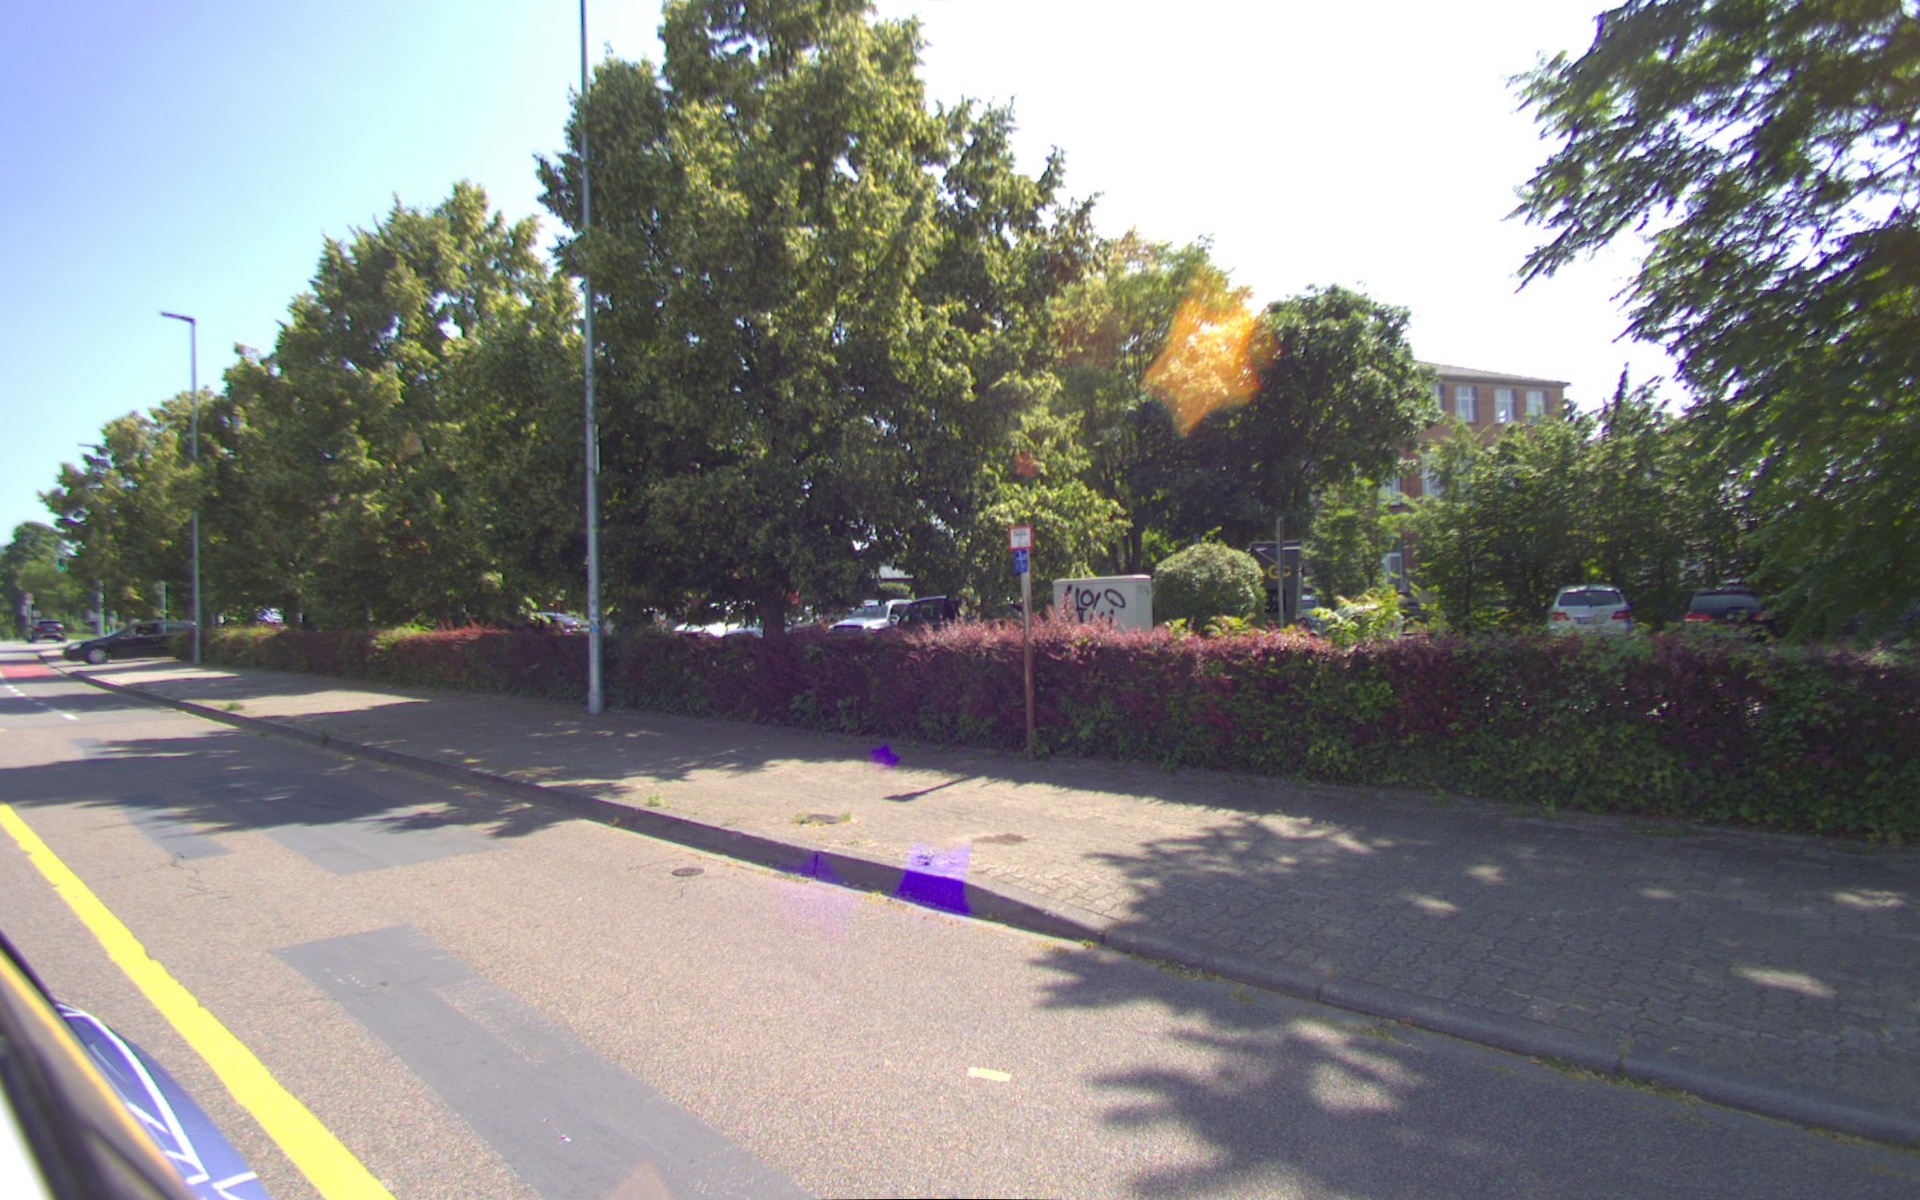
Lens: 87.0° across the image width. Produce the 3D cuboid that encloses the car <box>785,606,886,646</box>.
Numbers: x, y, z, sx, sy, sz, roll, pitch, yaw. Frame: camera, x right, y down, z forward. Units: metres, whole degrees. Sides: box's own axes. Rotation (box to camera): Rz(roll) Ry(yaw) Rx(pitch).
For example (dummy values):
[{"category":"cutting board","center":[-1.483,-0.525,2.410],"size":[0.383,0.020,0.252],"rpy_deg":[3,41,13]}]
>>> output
[{"category":"car","center":[-5.807,1.193,47.033],"size":[4.347,1.698,1.845],"rpy_deg":[-1,2,28]}]

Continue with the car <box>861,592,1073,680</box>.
[{"category":"car","center":[0.084,0.757,21.546],"size":[4.363,1.699,1.837],"rpy_deg":[-2,-3,40]}]

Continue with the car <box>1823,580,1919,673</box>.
[{"category":"car","center":[17.194,0.416,18.301],"size":[1.698,1.464,3.959],"rpy_deg":[-3,0,31]}]

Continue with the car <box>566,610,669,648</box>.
[{"category":"car","center":[-14.859,1.271,43.926],"size":[4.120,1.564,1.904],"rpy_deg":[-1,0,26]}]

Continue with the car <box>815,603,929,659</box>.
[{"category":"car","center":[-2.832,0.988,33.575],"size":[1.851,1.698,4.331],"rpy_deg":[-1,-1,24]}]

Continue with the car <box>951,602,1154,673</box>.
[{"category":"car","center":[2.040,0.844,23.137],"size":[4.363,1.464,1.837],"rpy_deg":[-2,-3,40]}]

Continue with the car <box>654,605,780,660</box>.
[{"category":"car","center":[-8.087,1.051,34.060],"size":[1.852,1.698,4.275],"rpy_deg":[-1,-1,25]}]

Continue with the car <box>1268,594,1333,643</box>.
[{"category":"car","center":[11.948,0.612,35.355],"size":[1.763,1.487,3.969],"rpy_deg":[-3,0,23]}]

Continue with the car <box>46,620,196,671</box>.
[{"category":"car","center":[-29.774,1.569,35.957],"size":[3.941,1.475,1.882],"rpy_deg":[-4,2,-44]}]

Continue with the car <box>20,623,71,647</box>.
[{"category":"car","center":[-64.850,2.460,71.839],"size":[1.966,1.657,4.540],"rpy_deg":[0,-1,-33]}]

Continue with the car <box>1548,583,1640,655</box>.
[{"category":"car","center":[15.751,0.427,25.240],"size":[1.768,1.584,3.958],"rpy_deg":[-2,0,31]}]

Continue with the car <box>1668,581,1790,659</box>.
[{"category":"car","center":[16.929,0.409,22.447],"size":[1.769,1.481,3.956],"rpy_deg":[-3,0,33]}]
